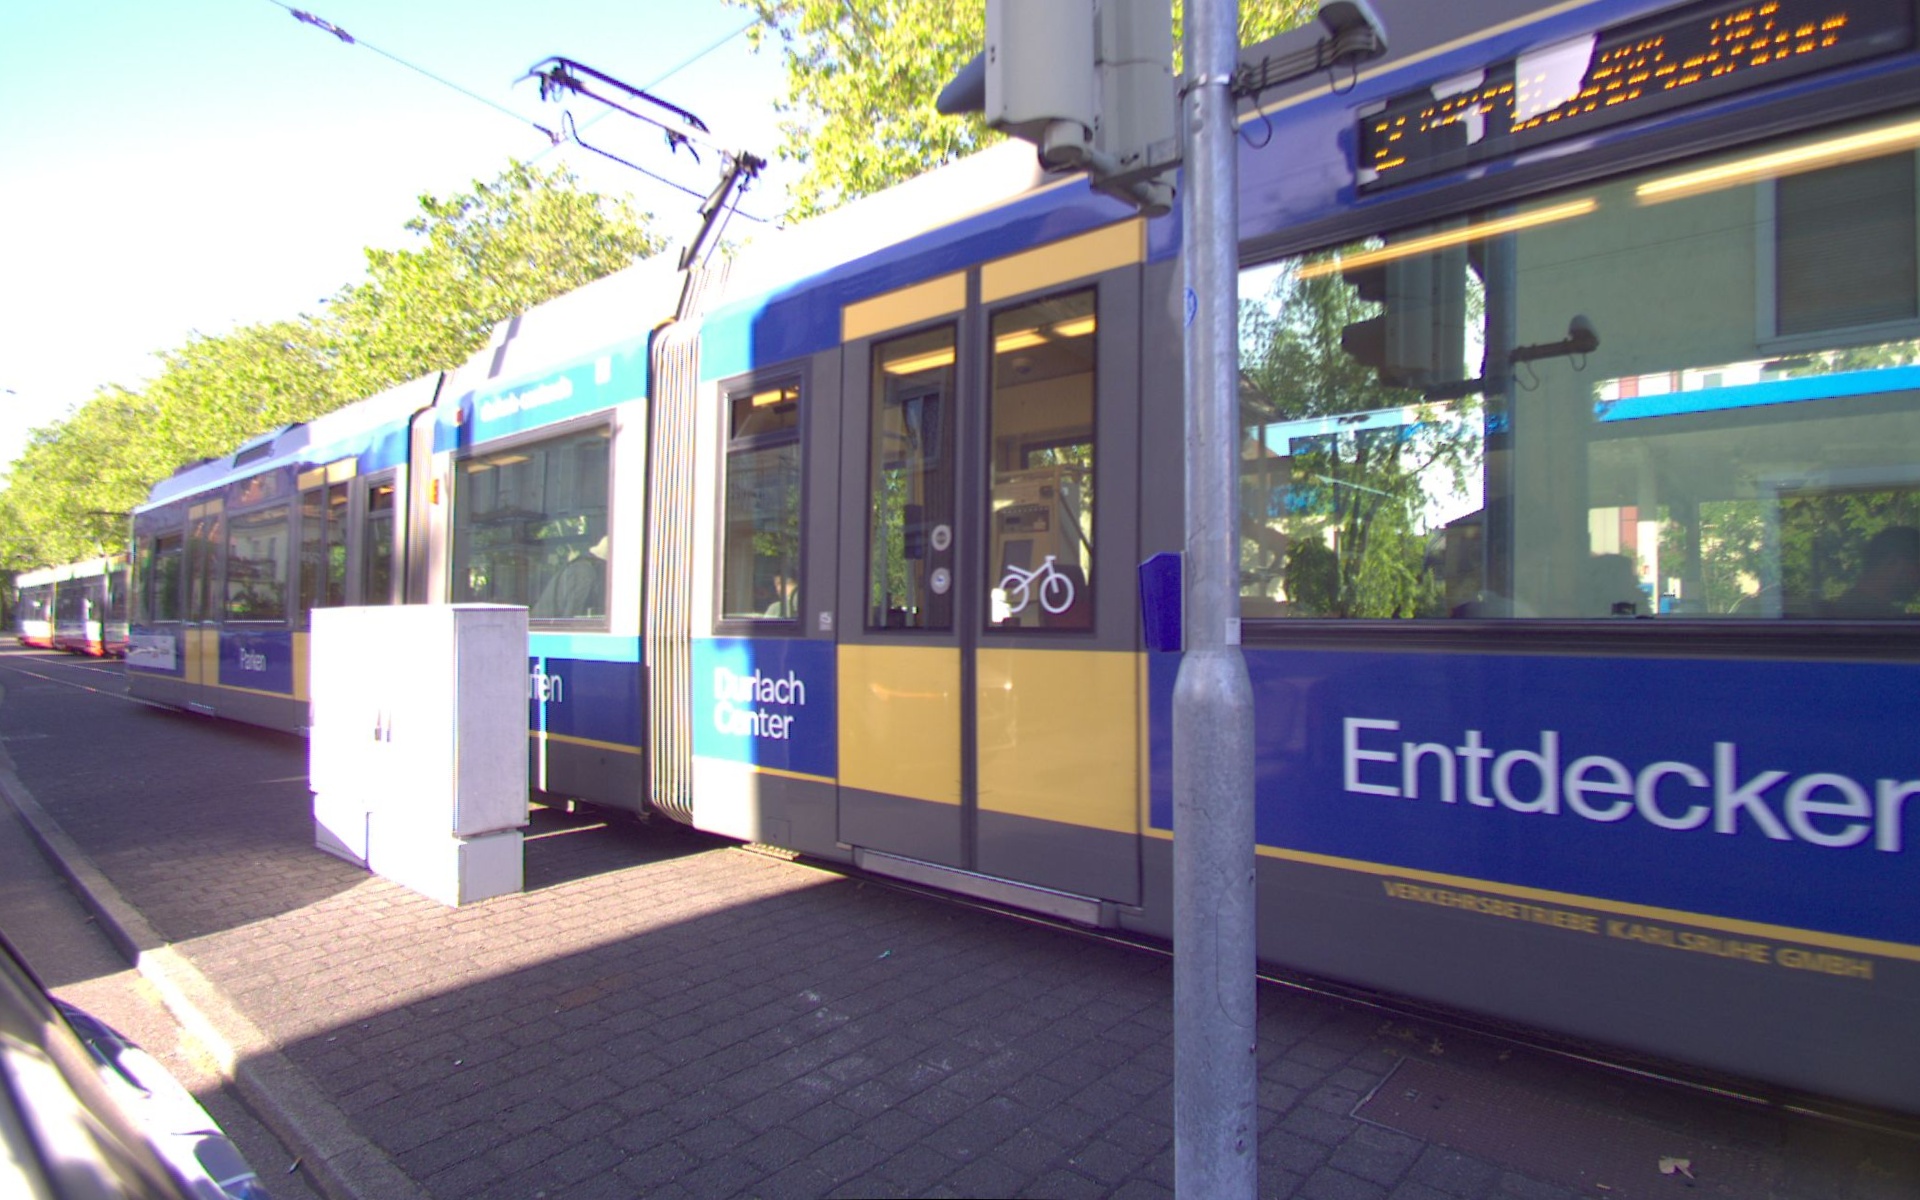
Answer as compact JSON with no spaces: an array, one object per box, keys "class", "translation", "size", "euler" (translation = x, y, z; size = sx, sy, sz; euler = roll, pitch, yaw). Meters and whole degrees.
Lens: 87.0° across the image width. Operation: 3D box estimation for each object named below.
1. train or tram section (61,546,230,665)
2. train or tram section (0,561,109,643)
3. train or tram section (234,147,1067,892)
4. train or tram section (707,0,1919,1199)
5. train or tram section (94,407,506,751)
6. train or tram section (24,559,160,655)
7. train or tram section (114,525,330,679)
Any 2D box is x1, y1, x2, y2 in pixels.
[{"class":"train or tram section","translation":[-27.847,0.195,34.353],"size":[10.179,3.503,2.806],"euler":[-1,0,41]},{"class":"train or tram section","translation":[-43.028,0.126,47.816],"size":[10.179,3.503,2.806],"euler":[-1,0,41]},{"class":"train or tram section","translation":[-3.363,-0.297,8.641],"size":[8.458,3.526,2.785],"euler":[-2,-2,41]},{"class":"train or tram section","translation":[4.188,-0.493,1.960],"size":[12.024,3.526,2.741],"euler":[-2,-2,41]},{"class":"train or tram section","translation":[-9.483,-0.131,14.057],"size":[7.959,3.526,2.785],"euler":[-2,-2,41]},{"class":"train or tram section","translation":[-35.396,0.285,41.084],"size":[10.179,3.503,2.806],"euler":[-1,0,41]},{"class":"train or tram section","translation":[-20.324,0.073,27.509],"size":[10.182,3.503,2.824],"euler":[-1,0,43]}]
